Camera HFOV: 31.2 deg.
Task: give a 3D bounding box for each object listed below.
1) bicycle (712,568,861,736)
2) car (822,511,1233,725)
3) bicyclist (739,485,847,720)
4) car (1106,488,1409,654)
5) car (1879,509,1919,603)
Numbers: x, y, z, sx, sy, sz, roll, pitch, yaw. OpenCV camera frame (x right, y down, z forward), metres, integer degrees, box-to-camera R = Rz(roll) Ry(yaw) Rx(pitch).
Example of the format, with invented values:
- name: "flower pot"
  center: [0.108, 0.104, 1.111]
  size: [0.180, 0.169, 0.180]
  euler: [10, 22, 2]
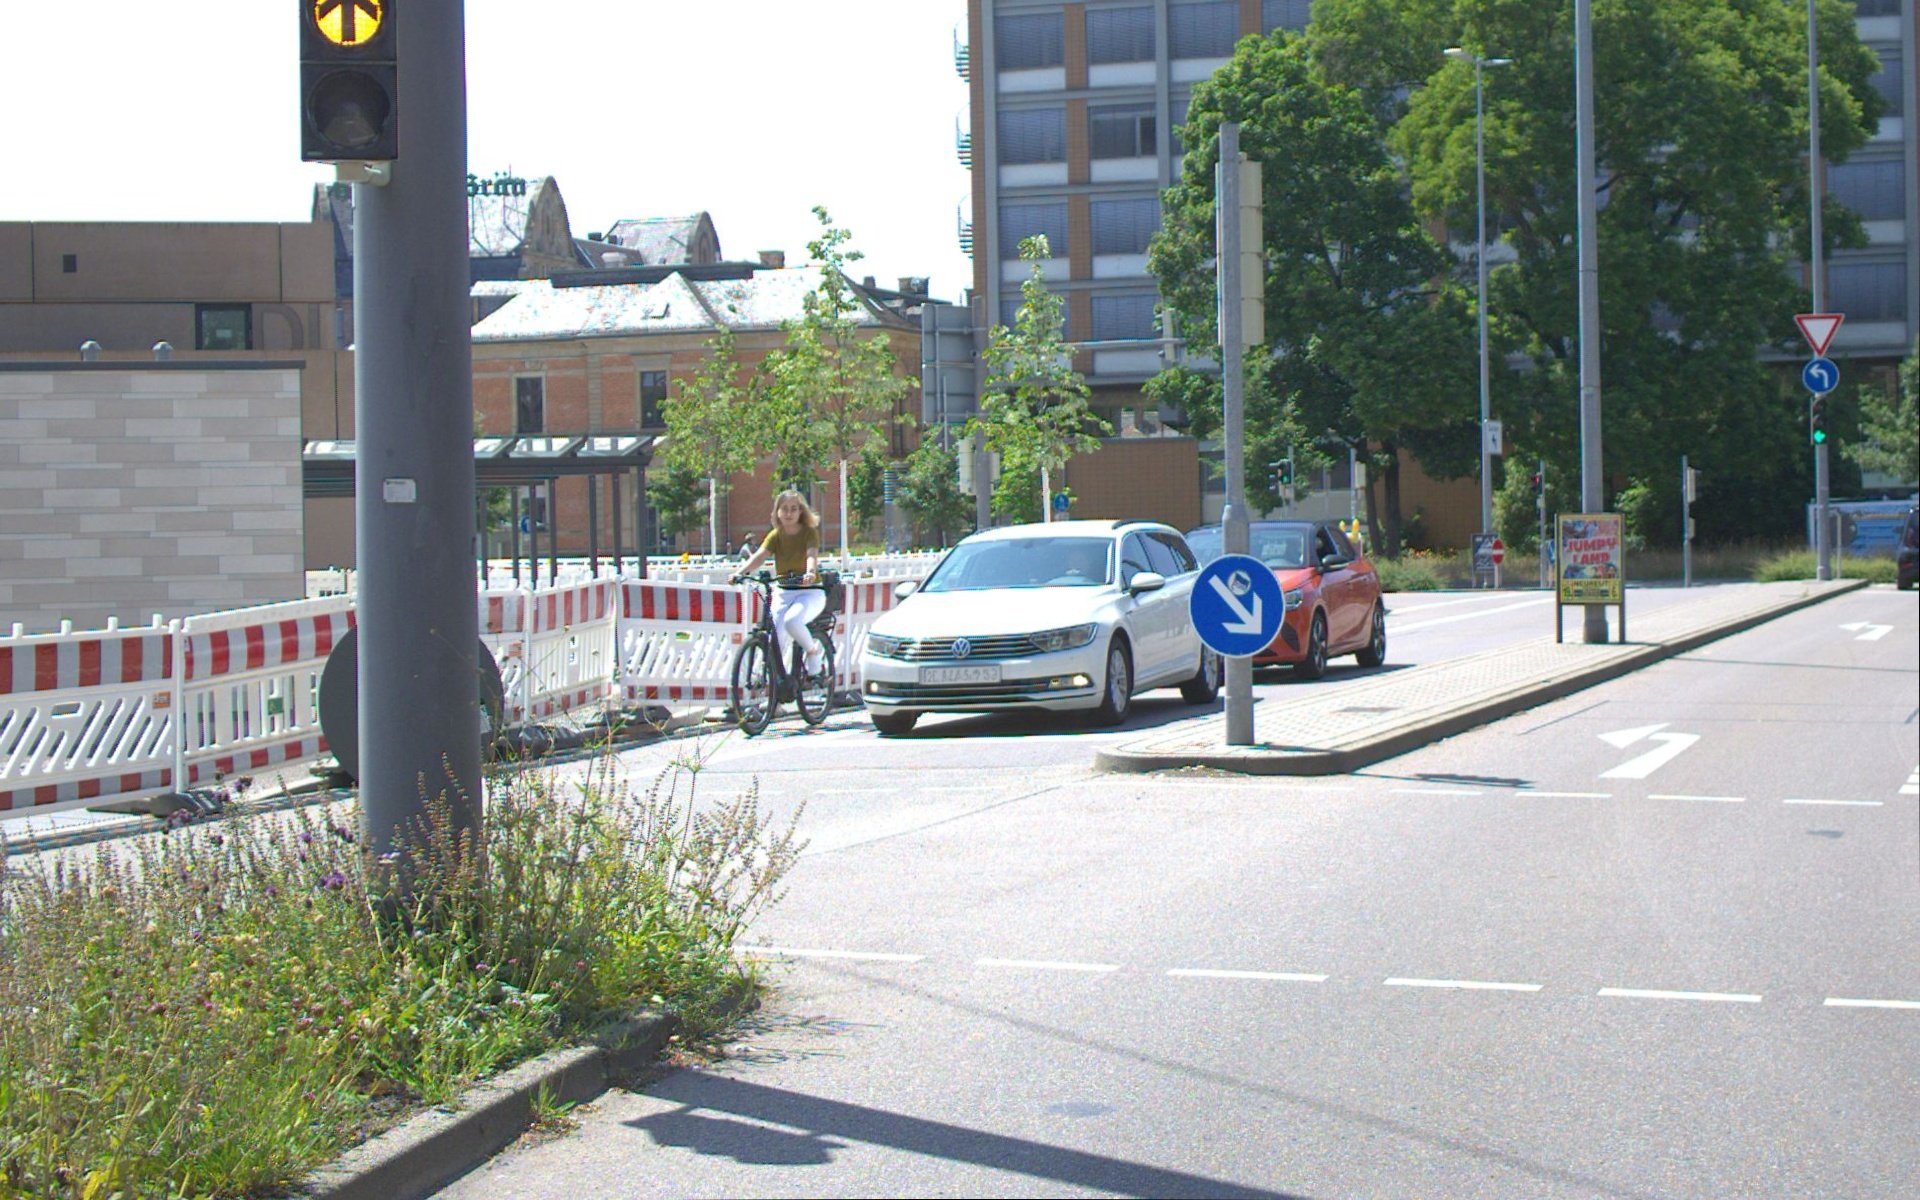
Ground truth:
- name: "bicycle"
  center: [-1.275, 0.369, 25.628]
  size: [0.398, 1.170, 1.769]
  euler: [-1, 1, 21]
- name: "car"
  center: [0.626, 0.097, 25.839]
  size: [1.995, 1.433, 4.702]
  euler: [-1, 1, 15]
- name: "bicyclist"
  center: [-1.247, 0.009, 25.711]
  size: [0.568, 1.713, 0.506]
  euler: [4, 3, 25]
- name: "car"
  center: [2.846, -0.282, 32.065]
  size: [1.733, 1.420, 4.119]
  euler: [-1, 0, 21]
- name: "car"
  center: [16.519, -0.774, 57.727]
  size: [1.689, 1.521, 3.689]
  euler: [-1, 1, 9]
